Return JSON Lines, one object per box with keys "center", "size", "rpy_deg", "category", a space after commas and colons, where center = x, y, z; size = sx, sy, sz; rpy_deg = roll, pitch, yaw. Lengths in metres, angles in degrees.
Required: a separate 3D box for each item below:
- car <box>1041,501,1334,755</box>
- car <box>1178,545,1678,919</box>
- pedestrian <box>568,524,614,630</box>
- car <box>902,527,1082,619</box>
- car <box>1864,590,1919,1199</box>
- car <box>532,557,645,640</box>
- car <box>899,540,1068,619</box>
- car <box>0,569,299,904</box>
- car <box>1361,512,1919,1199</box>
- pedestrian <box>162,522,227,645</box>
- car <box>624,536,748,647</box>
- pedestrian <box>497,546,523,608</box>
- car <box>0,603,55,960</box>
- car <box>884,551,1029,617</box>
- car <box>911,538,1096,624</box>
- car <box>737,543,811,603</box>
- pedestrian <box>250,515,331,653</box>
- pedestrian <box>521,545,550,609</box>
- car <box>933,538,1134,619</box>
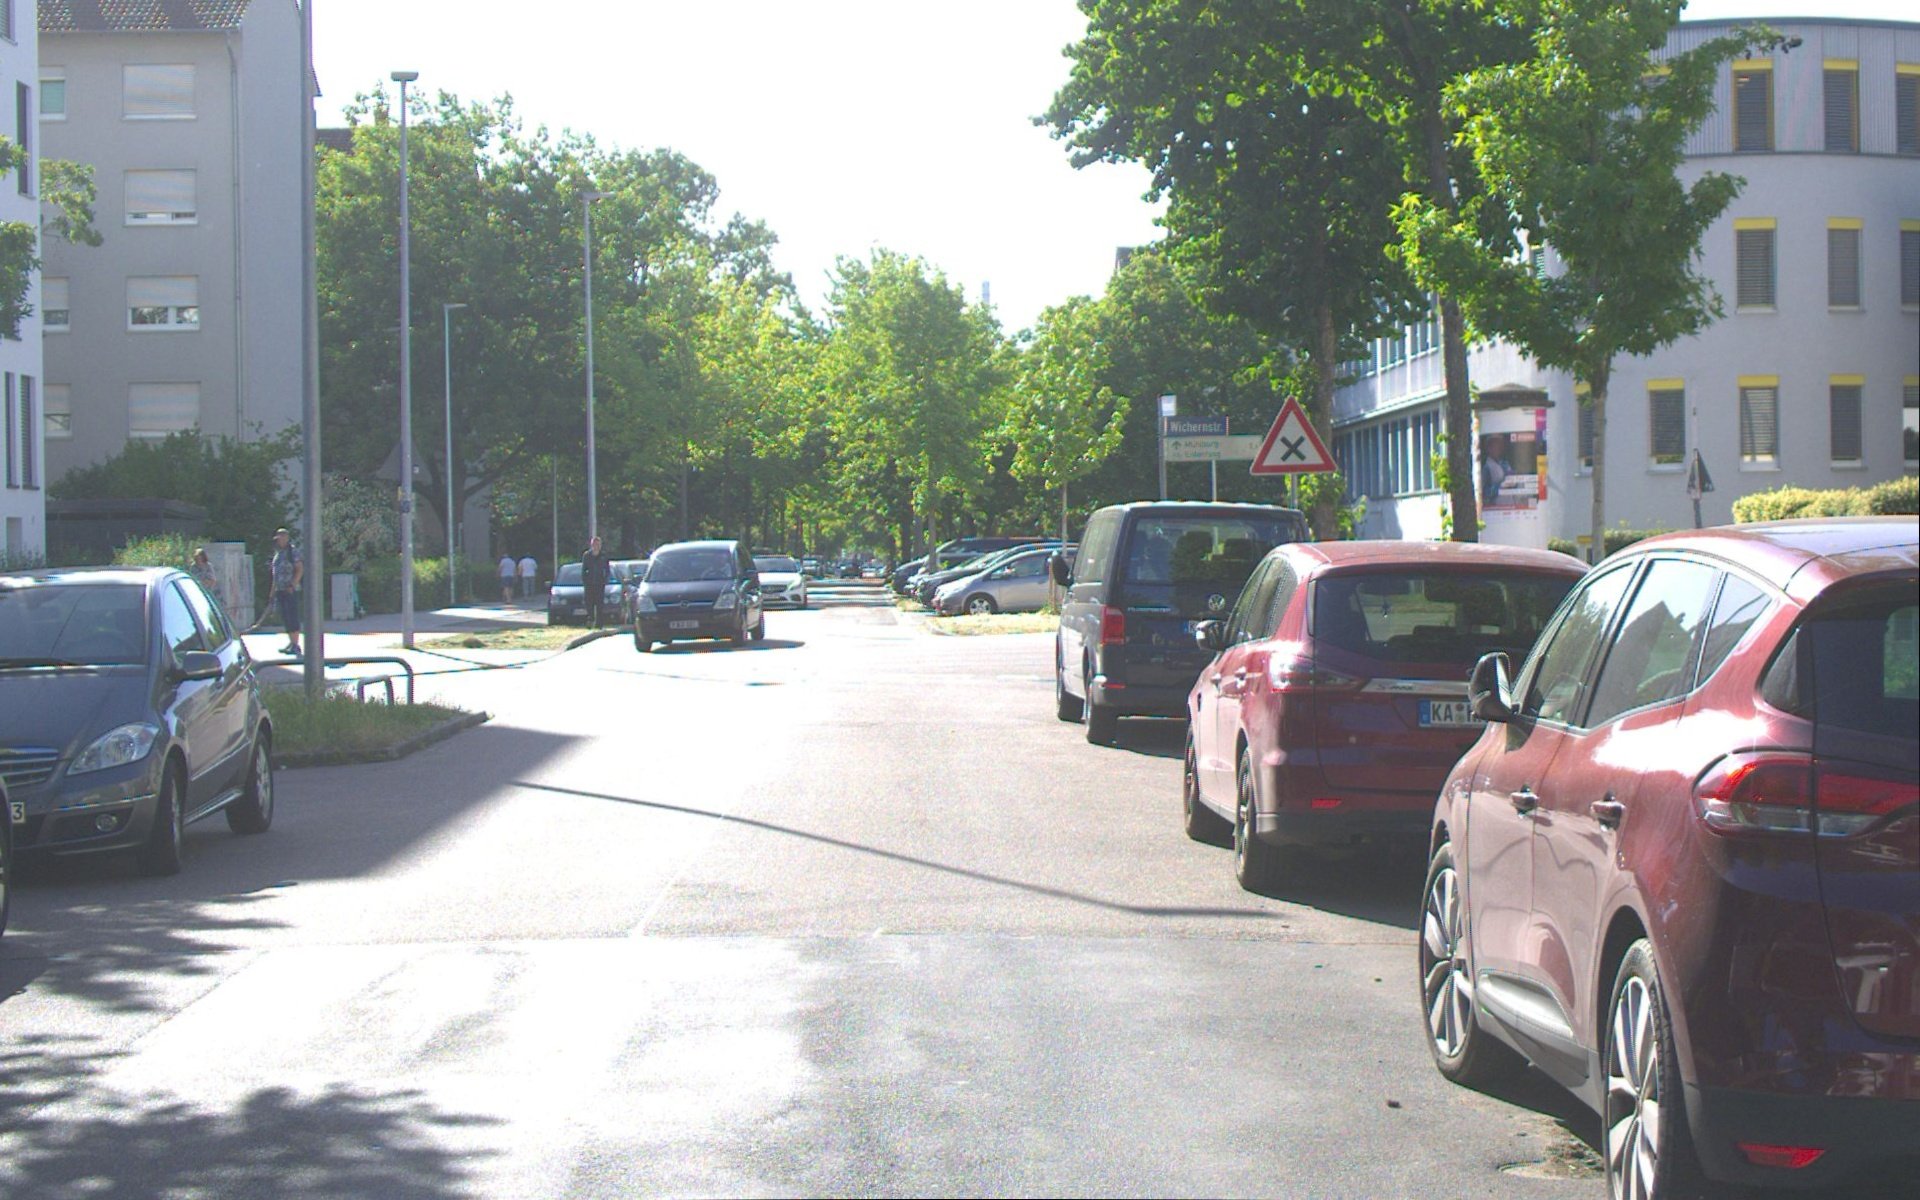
{"center": [1.832, 0.187, 29.247], "size": [1.971, 1.942, 4.986], "rpy_deg": [-1, 1, -2], "category": "car"}
{"center": [2.167, 0.543, 17.025], "size": [1.834, 1.595, 4.158], "rpy_deg": [1, 1, -1], "category": "car"}
{"center": [-6.690, -0.418, 62.275], "size": [0.715, 1.894, 0.837], "rpy_deg": [-1, 1, -11], "category": "pedestrian"}
{"center": [0.716, -0.631, 79.624], "size": [3.986, 2.007, 2.000], "rpy_deg": [-1, 1, -3], "category": "car"}
{"center": [2.401, 0.766, 2.805], "size": [1.897, 1.469, 4.700], "rpy_deg": [2, 0, -3], "category": "car"}
{"center": [-7.852, -0.054, 72.999], "size": [1.993, 1.665, 4.000], "rpy_deg": [-1, 1, -1], "category": "car"}
{"center": [0.551, -0.511, 84.122], "size": [3.986, 1.824, 2.000], "rpy_deg": [-1, 1, -3], "category": "car"}
{"center": [-4.935, 0.674, 18.905], "size": [1.839, 1.589, 4.262], "rpy_deg": [-3, 1, -2], "category": "car"}
{"center": [2.303, 0.671, 8.746], "size": [1.907, 1.693, 4.314], "rpy_deg": [2, 1, -1], "category": "car"}
{"center": [-12.791, -0.283, 57.449], "size": [0.859, 2.007, 0.981], "rpy_deg": [-1, 1, -3], "category": "pedestrian"}
{"center": [-4.185, -0.149, 52.716], "size": [1.783, 1.603, 4.001], "rpy_deg": [-1, 1, -4], "category": "car"}
{"center": [-13.807, -0.707, 105.448], "size": [0.762, 1.894, 0.819], "rpy_deg": [-1, 1, -7], "category": "pedestrian"}
{"center": [-4.914, 0.820, 12.835], "size": [1.993, 1.448, 4.262], "rpy_deg": [-4, 1, -2], "category": "car"}
{"center": [-0.114, -0.471, 100.219], "size": [3.986, 1.875, 2.000], "rpy_deg": [-1, 0, -8], "category": "car"}
{"center": [0.950, -0.431, 76.800], "size": [3.986, 1.799, 1.890], "rpy_deg": [-1, 1, -3], "category": "car"}
{"center": [-5.020, -0.753, 93.180], "size": [1.895, 1.555, 4.000], "rpy_deg": [-1, 1, -2], "category": "car"}
{"center": [-9.864, -0.241, 50.685], "size": [0.859, 2.007, 0.981], "rpy_deg": [-1, 1, 7], "category": "pedestrian"}
{"center": [-13.448, -0.740, 108.925], "size": [0.859, 2.007, 0.981], "rpy_deg": [-1, 1, -8], "category": "pedestrian"}
{"center": [1.511, -0.460, 71.588], "size": [3.986, 1.581, 1.727], "rpy_deg": [-1, 1, -5], "category": "car"}
